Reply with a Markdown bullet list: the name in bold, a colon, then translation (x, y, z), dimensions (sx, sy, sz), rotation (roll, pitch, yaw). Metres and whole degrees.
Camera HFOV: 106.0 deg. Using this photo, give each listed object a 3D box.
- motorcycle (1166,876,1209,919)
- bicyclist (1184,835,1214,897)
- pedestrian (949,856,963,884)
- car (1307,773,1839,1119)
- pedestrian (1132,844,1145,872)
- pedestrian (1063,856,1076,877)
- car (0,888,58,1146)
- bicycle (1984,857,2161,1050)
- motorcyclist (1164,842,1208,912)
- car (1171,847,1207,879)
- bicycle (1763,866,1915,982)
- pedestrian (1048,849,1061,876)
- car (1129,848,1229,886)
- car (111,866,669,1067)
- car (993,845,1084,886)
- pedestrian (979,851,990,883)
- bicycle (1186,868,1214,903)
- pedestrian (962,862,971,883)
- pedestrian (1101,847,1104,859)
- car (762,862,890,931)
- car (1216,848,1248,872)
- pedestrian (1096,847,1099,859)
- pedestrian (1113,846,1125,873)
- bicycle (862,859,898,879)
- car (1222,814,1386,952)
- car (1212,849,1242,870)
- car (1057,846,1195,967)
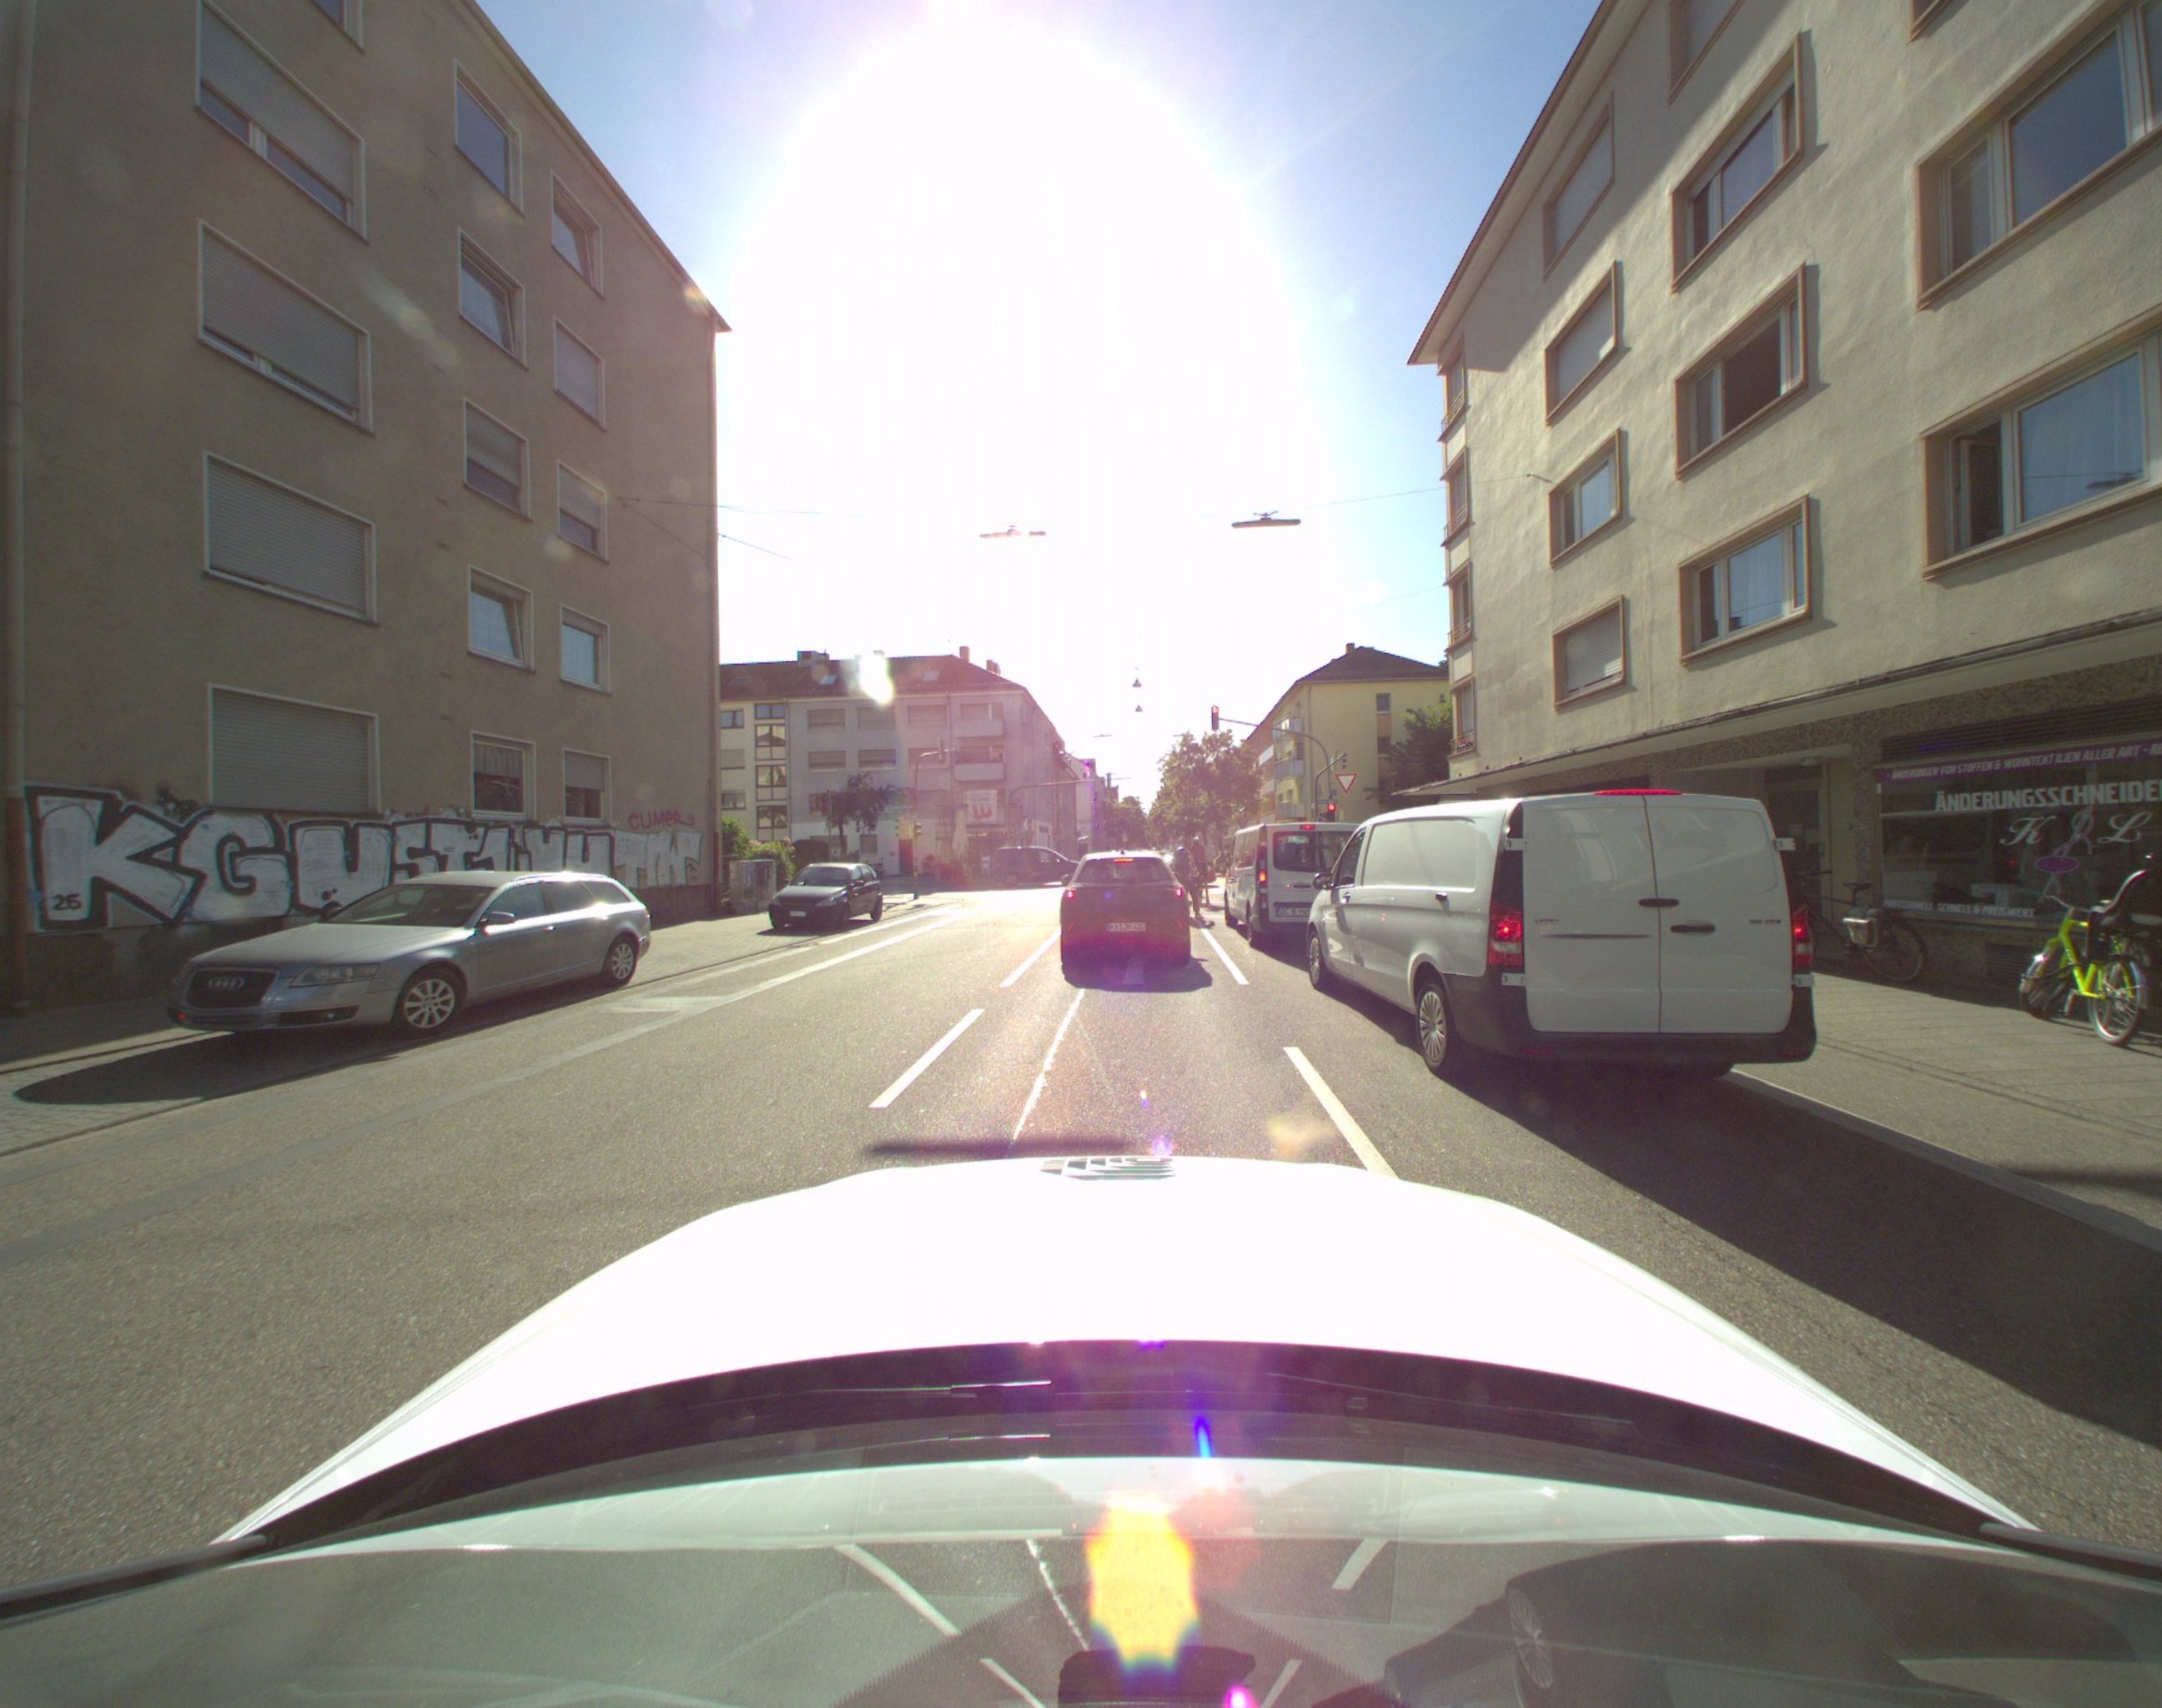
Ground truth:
- **motorcycle**: translation (2.356, 0.949, 18.246), dimensions (0.821, 0.845, 1.887), rotation (-1, 0, 4)
- **bicyclist**: translation (3.419, 0.330, 23.602), dimensions (0.686, 1.712, 1.415), rotation (-1, 0, 2)
- **pedestrian**: translation (-6.810, 0.862, 44.280), dimensions (0.582, 1.521, 0.650), rotation (-1, 0, 1)
- **car**: translation (3.361, 0.485, 6.945), dimensions (1.828, 1.869, 5.002), rotation (0, 0, 4)
- **pedestrian**: translation (3.510, 0.241, 49.767), dimensions (0.704, 1.701, 0.803), rotation (-1, 0, 2)
- **pedestrian**: translation (-0.722, 0.787, 50.123), dimensions (0.704, 1.253, 0.803), rotation (-1, 0, 2)
- **car**: translation (-7.197, 0.951, 2.661), dimensions (1.709, 1.465, 4.617), rotation (0, 0, 4)
- **bicycle**: translation (7.786, 0.689, 6.360), dimensions (0.434, 1.249, 1.771), rotation (-4, 0, 31)
- **motorcyclist**: translation (2.337, 0.493, 18.246), dimensions (0.860, 1.502, 1.161), rotation (-1, 0, 3)
- **car**: translation (6.184, 0.475, 46.973), dimensions (1.893, 1.728, 4.006), rotation (-1, 0, 5)
- **bicycle**: translation (8.349, 0.719, 9.057), dimensions (0.398, 1.136, 1.733), rotation (-1, 0, 13)
- **pedestrian**: translation (-1.607, 0.522, 50.171), dimensions (0.704, 1.677, 0.803), rotation (-1, 0, 2)
- **car**: translation (4.020, 0.525, 33.609), dimensions (3.969, 1.464, 1.833), rotation (-1, 0, 4)
- **car**: translation (-6.713, 0.919, 8.864), dimensions (1.710, 1.465, 4.820), rotation (1, 0, 4)
- **car**: translation (-1.968, 0.507, 37.378), dimensions (4.053, 1.728, 1.905), rotation (-2, 0, -5)
- **pedestrian**: translation (-5.301, 0.715, 44.783), dimensions (0.560, 1.775, 0.583), rotation (-1, 0, -4)
- **bicycle**: translation (3.431, 0.897, 23.618), dimensions (0.574, 0.904, 2.303), rotation (-1, 0, 3)
- **pedestrian**: translation (-6.222, 0.997, 44.228), dimensions (0.354, 1.092, 0.462), rotation (-1, 0, 1)
- **pedestrian**: translation (3.246, -0.136, 122.579), dimensions (0.400, 1.675, 0.418), rotation (-1, 0, 4)
- **car**: translation (-5.850, 0.916, 19.138), dimensions (1.609, 1.425, 3.714), rotation (0, 0, 4)
- **car**: translation (9.765, 0.361, 52.857), dimensions (1.627, 1.433, 3.961), rotation (-1, 0, 5)
- **pedestrian**: translation (2.524, -0.144, 122.644), dimensions (0.400, 1.675, 0.418), rotation (-1, 0, 4)
- **pedestrian**: translation (2.333, 0.345, 49.811), dimensions (0.677, 1.606, 0.763), rotation (-1, 0, 2)
- **bicycle**: translation (-12.384, 0.911, 50.234), dimensions (2.101, 1.172, 0.736), rotation (-2, 0, -20)
- **car**: translation (3.650, 0.410, 14.279), dimensions (1.983, 1.979, 4.903), rotation (-1, 0, 6)
- **car**: translation (10.287, 0.353, 57.624), dimensions (1.627, 1.433, 4.005), rotation (-1, 0, 4)
- **car**: translation (0.676, 0.671, 12.537), dimensions (1.763, 1.530, 4.003), rotation (-1, 0, 3)
